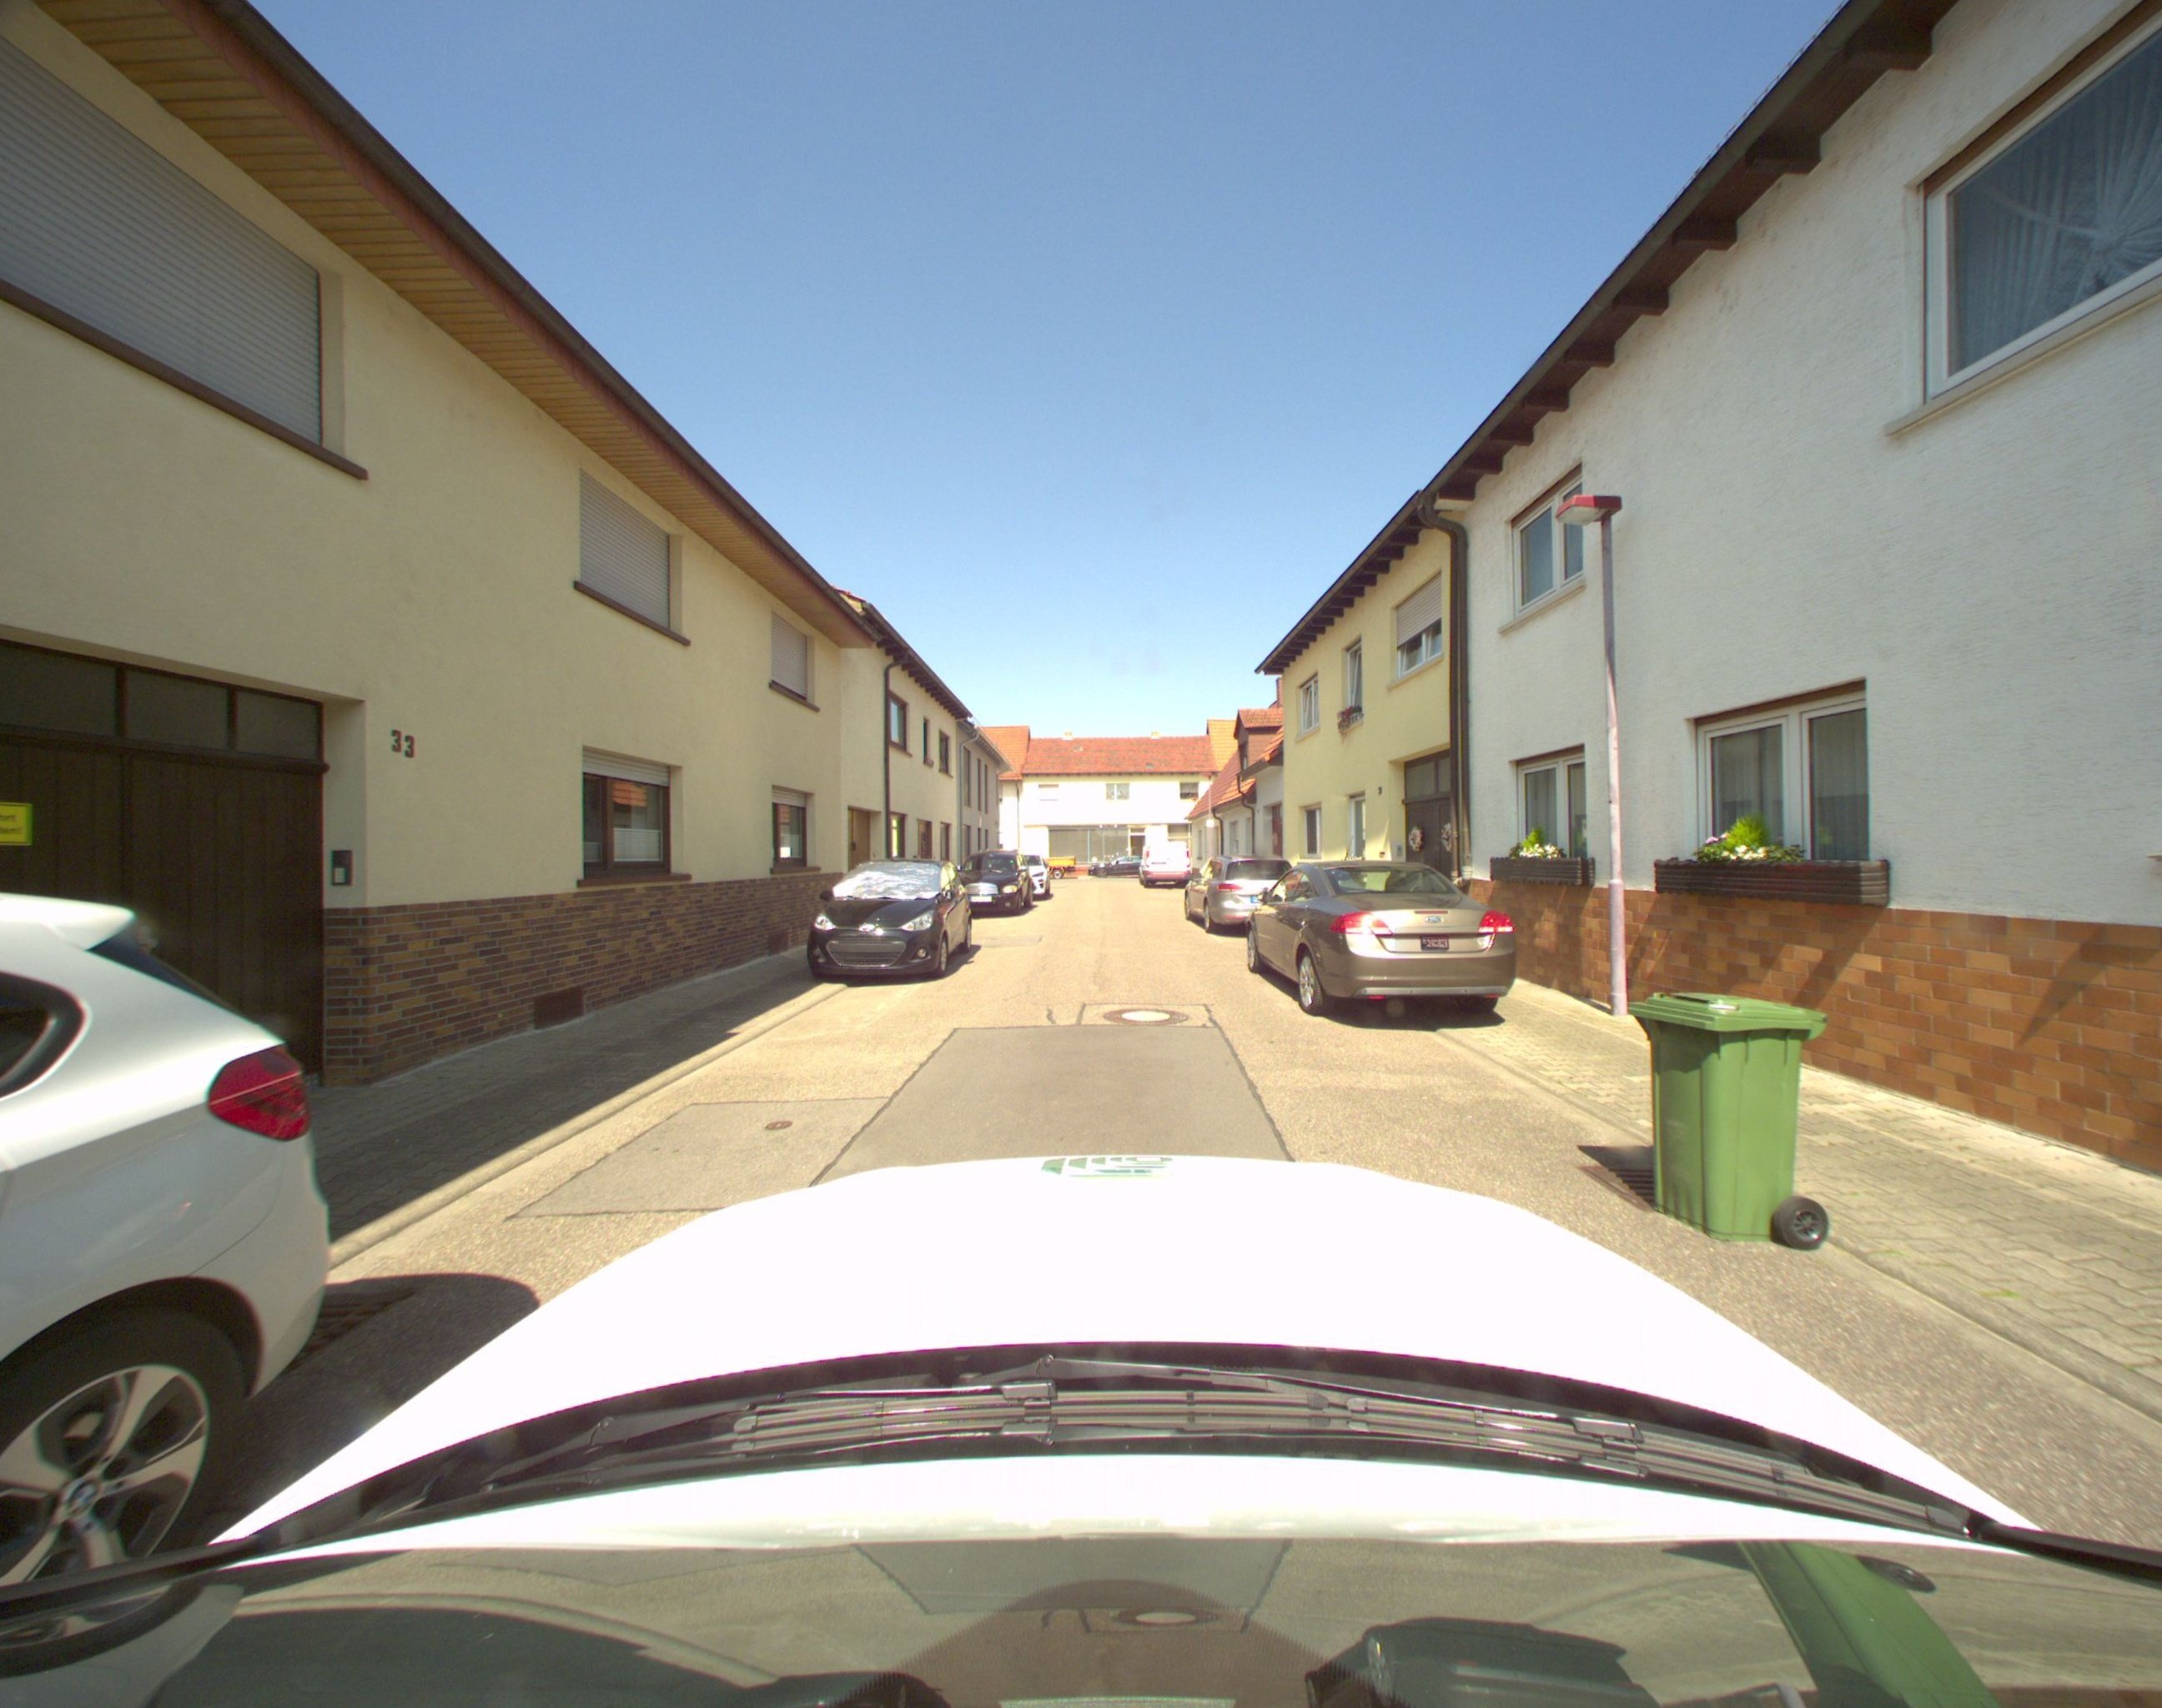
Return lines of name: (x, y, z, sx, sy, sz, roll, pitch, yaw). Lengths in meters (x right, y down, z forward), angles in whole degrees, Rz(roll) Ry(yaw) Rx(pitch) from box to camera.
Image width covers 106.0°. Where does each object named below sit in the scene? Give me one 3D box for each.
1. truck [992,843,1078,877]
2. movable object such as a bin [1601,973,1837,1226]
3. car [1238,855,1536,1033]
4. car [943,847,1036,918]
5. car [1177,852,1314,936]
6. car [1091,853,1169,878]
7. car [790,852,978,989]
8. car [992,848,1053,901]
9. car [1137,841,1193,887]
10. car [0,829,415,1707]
truck: (-2.725, 0.358, 49.617, 5.045, 2.014, 2.190, 0, -1, 1)
movable object such as a bin: (2.708, 1.007, 3.507, 0.549, 0.892, 0.578, 0, -1, -6)
car: (2.895, 0.736, 8.692, 1.691, 1.435, 4.103, 0, 0, 1)
car: (-2.254, 0.670, 21.024, 1.715, 1.615, 3.992, -2, 0, 3)
car: (3.158, 0.704, 16.607, 1.832, 1.448, 4.775, 0, 0, 0)
car: (2.931, 0.699, 49.542, 4.602, 1.394, 1.927, 0, -3, -1)
car: (-2.529, 0.776, 11.394, 1.635, 1.537, 3.941, -2, 0, 0)
car: (-1.896, 0.642, 27.557, 1.769, 1.615, 4.347, -2, 0, -1)
car: (3.535, 0.398, 35.212, 2.005, 1.839, 5.266, 0, 0, 1)
car: (-2.725, 0.769, 0.337, 1.658, 1.549, 3.940, -2, 1, -1)
